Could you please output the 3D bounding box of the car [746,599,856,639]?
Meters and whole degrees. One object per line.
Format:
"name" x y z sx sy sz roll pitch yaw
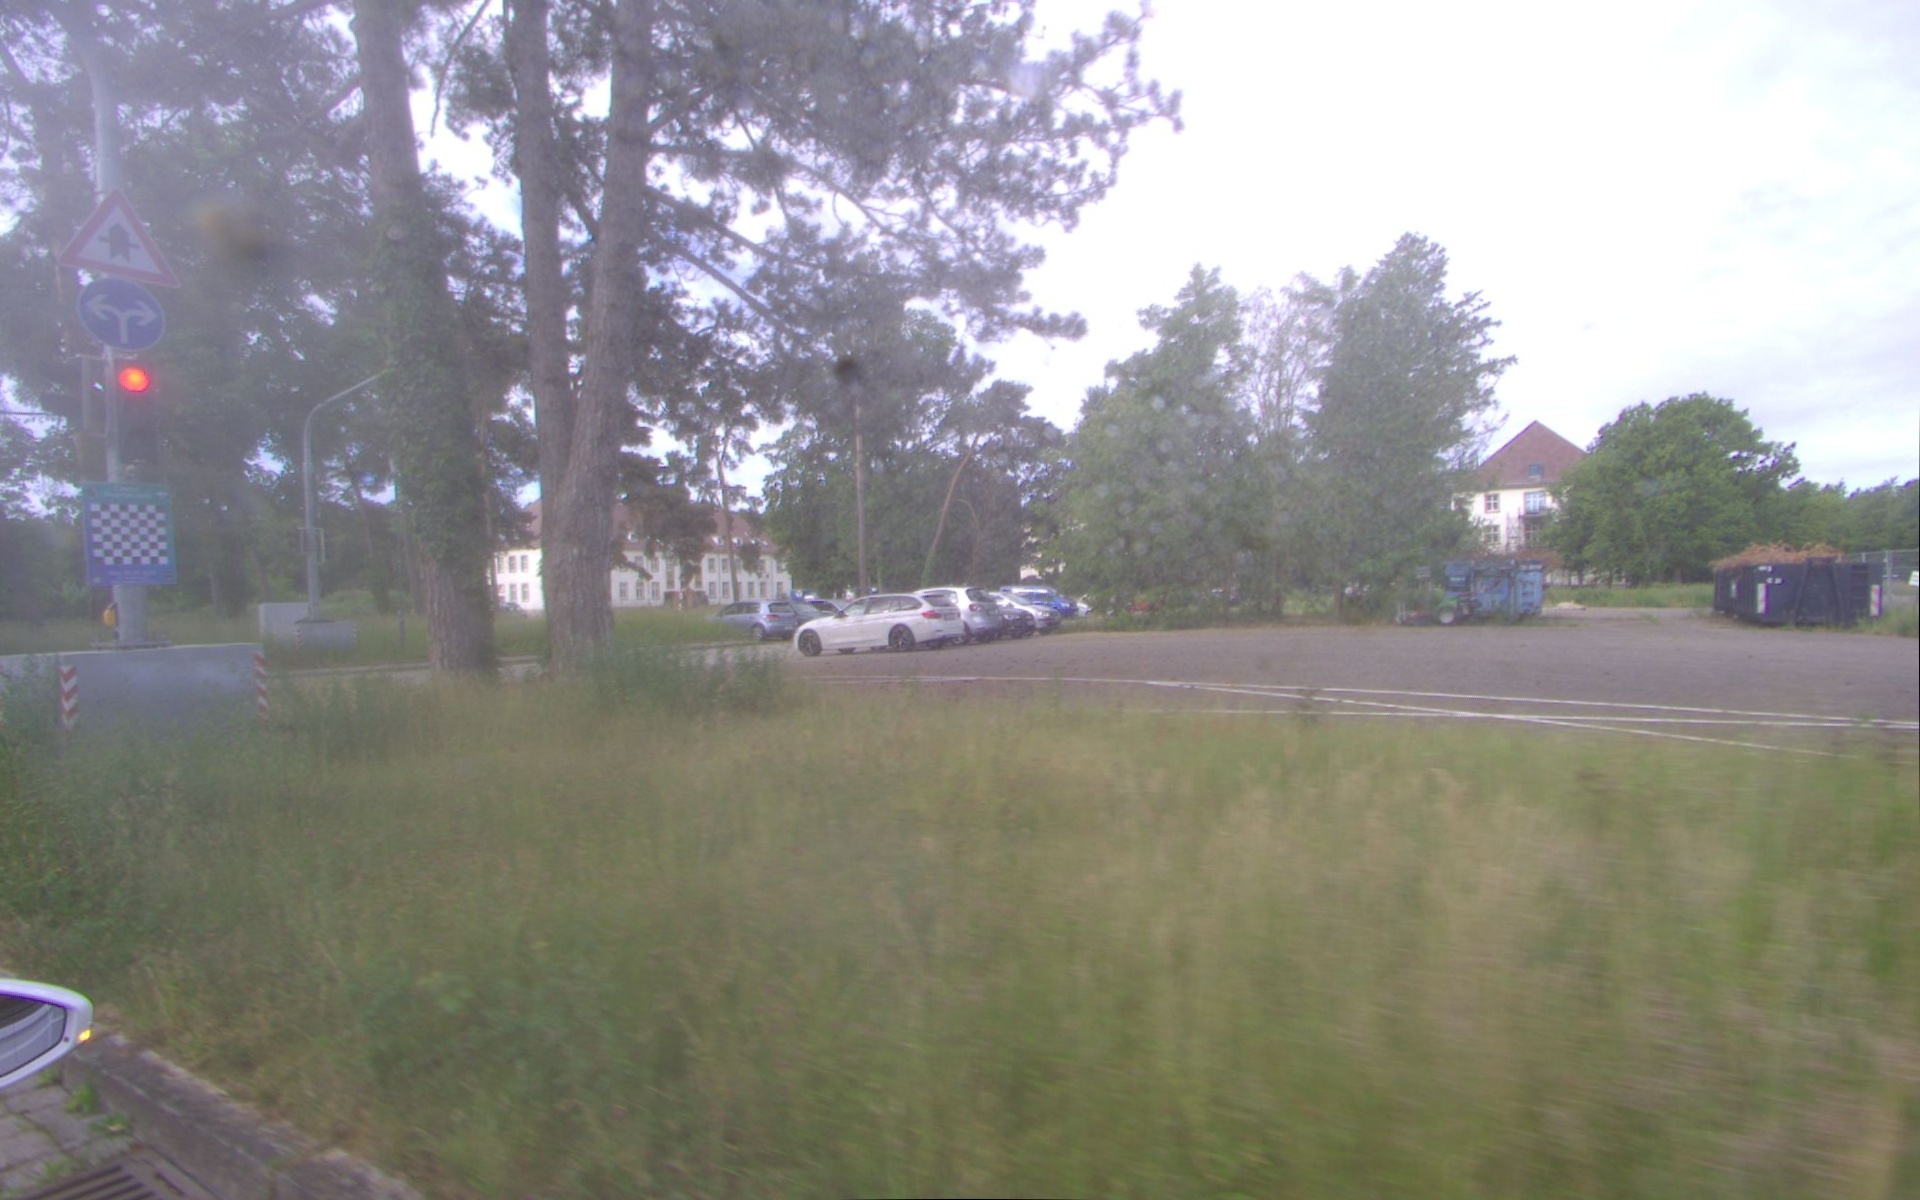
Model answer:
"car" -6.278 0.734 39.373 4.184 1.487 1.730 -1 0 33

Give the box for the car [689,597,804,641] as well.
"car" -7.992 0.699 37.343 4.184 1.529 1.730 -1 0 33

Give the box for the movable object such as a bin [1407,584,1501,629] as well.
"movable object such as a bin" 13.103 0.185 26.647 2.176 1.149 0.960 -1 -1 23

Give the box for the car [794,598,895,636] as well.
"car" -4.844 0.699 41.728 4.189 1.487 1.727 -1 0 37

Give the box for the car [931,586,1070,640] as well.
"car" 1.298 0.440 32.608 4.186 1.504 1.696 -4 -1 33

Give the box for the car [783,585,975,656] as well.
"car" -2.080 0.550 25.283 4.541 1.505 1.846 -4 -2 29

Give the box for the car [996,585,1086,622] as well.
"car" 4.647 0.190 57.523 4.724 2.053 2.131 -1 1 33

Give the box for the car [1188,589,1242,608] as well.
"car" 21.948 -0.141 86.161 4.182 1.542 1.730 -1 1 32

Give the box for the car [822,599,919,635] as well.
"car" -3.977 0.733 43.982 4.189 1.487 1.727 -1 0 37

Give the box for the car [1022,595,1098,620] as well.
"car" 5.924 0.444 59.620 4.184 1.409 1.729 -1 0 34

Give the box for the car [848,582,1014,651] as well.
"car" -0.813 0.466 27.603 4.181 1.626 1.779 -4 -1 29

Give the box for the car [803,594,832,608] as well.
"car" -19.802 0.170 138.924 1.899 1.929 4.056 -1 -1 29

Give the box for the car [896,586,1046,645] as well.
"car" 0.292 0.473 30.010 4.186 1.504 1.696 -4 -1 33
